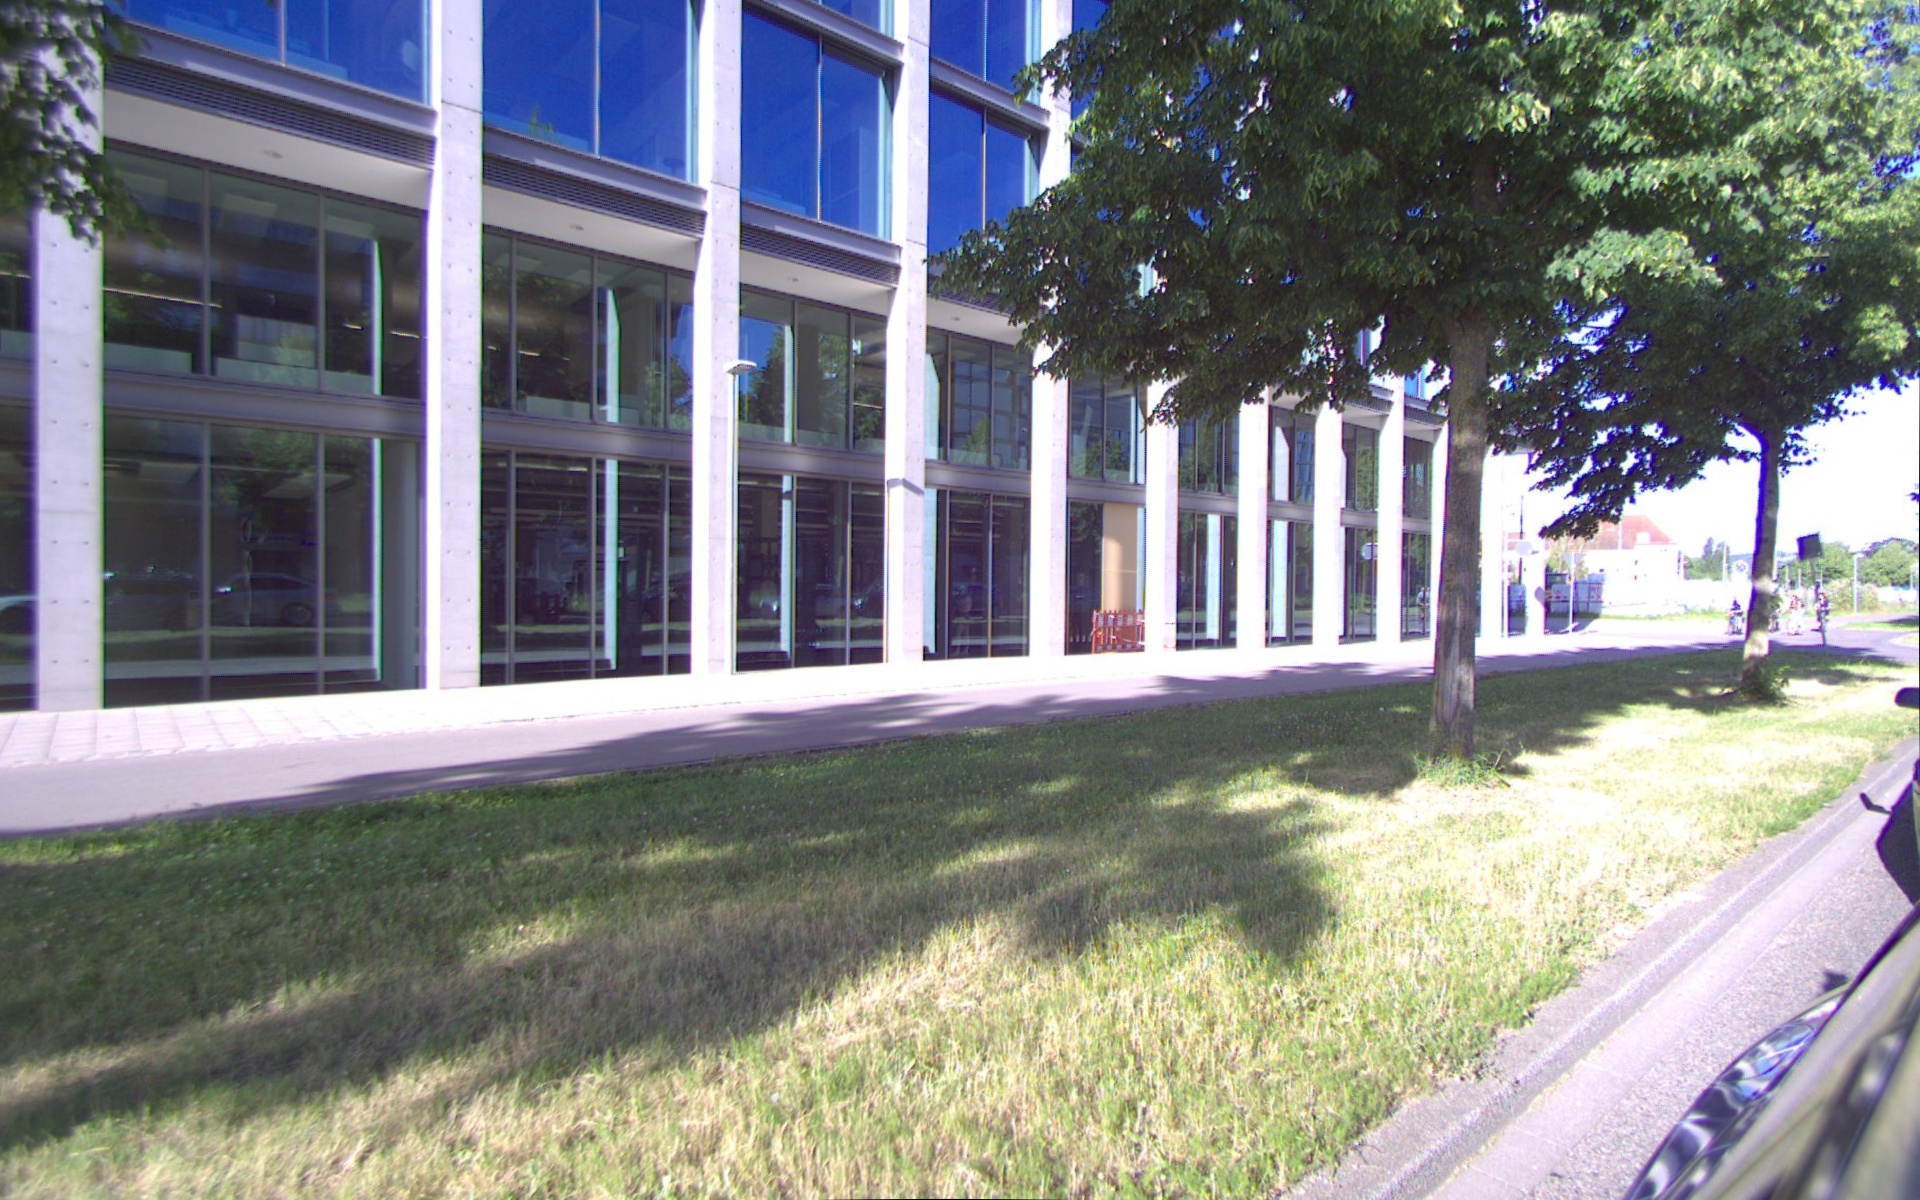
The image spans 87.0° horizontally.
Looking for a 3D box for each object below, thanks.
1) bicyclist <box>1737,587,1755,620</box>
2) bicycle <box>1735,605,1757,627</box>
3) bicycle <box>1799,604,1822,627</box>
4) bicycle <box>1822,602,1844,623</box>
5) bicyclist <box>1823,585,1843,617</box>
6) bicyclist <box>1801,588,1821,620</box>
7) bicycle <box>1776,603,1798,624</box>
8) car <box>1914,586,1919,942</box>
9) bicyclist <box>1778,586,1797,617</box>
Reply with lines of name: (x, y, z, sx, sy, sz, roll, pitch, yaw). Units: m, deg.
bicyclist: (30.979, 0.138, 39.885, 0.410, 1.305, 0.448, -1, 0, -40)
bicycle: (30.920, 0.608, 39.809, 1.297, 0.828, 0.415, -1, 0, -40)
bicycle: (32.909, 0.592, 39.135, 1.321, 0.828, 0.464, -1, 0, -40)
bicycle: (36.111, 0.530, 41.860, 1.321, 0.828, 0.464, -1, 0, -40)
bicyclist: (36.084, 0.050, 41.836, 0.512, 1.305, 0.534, -1, 0, -40)
bicyclist: (32.866, 0.162, 39.086, 0.498, 1.232, 0.534, -1, 0, -40)
bicycle: (34.678, 0.574, 42.419, 1.321, 0.828, 0.464, -1, 0, -40)
car: (6.087, 0.707, 4.964, 3.719, 1.541, 1.685, -1, 1, -41)
bicyclist: (34.710, 0.059, 42.459, 0.449, 1.305, 0.534, -1, 0, -40)
